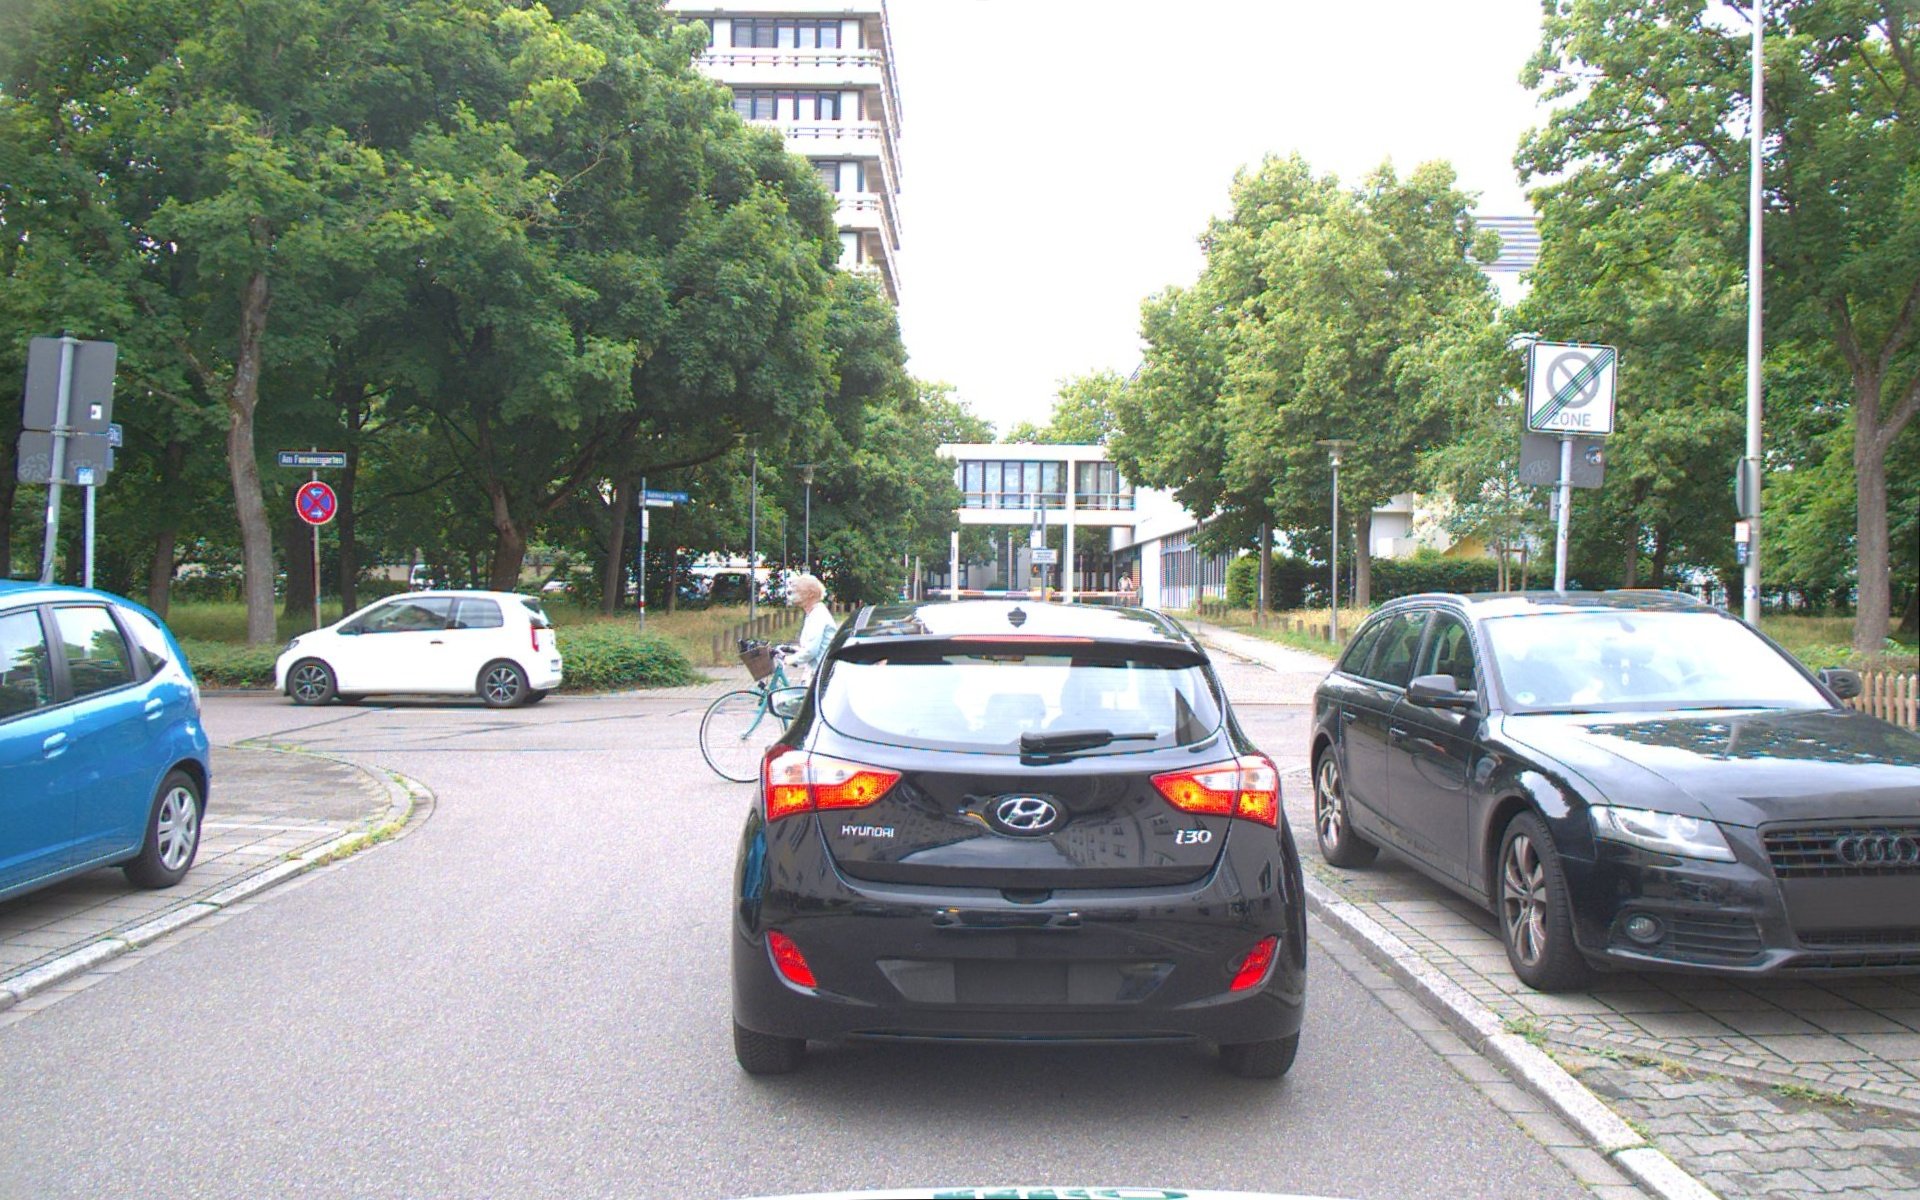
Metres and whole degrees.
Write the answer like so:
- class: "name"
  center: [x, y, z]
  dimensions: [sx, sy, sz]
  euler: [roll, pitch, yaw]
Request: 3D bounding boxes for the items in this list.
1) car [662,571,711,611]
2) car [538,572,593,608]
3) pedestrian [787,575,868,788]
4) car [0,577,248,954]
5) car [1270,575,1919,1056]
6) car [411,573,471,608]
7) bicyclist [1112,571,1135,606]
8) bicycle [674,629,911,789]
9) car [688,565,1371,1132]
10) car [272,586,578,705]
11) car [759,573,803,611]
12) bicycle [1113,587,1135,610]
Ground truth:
- class: "car"
  center: [-13.042, -0.408, 79.097]
  dimensions: [1.954, 1.825, 3.996]
  euler: [0, -1, -5]
- class: "car"
  center: [-18.748, -0.478, 78.755]
  dimensions: [1.954, 1.646, 3.996]
  euler: [0, 0, -5]
- class: "pedestrian"
  center: [-1.015, 0.607, 12.639]
  dimensions: [0.555, 1.576, 0.447]
  euler: [-2, 1, -8]
- class: "car"
  center: [-4.751, 0.660, 7.092]
  dimensions: [1.695, 1.488, 3.956]
  euler: [3, 0, -1]
- class: "car"
  center: [2.873, 0.646, 7.567]
  dimensions: [1.823, 1.488, 4.723]
  euler: [-1, 1, -3]
- class: "car"
  center: [-24.833, -0.454, 79.194]
  dimensions: [1.880, 1.646, 3.996]
  euler: [0, 0, -5]
- class: "bicyclist"
  center: [7.811, -0.568, 79.060]
  dimensions: [0.996, 1.673, 0.923]
  euler: [0, 1, 0]
- class: "bicycle"
  center: [-1.314, 0.836, 12.965]
  dimensions: [1.779, 1.139, 0.537]
  euler: [-2, 1, -9]
- class: "car"
  center: [0.101, 0.661, 6.309]
  dimensions: [1.809, 1.488, 3.825]
  euler: [1, 0, -3]
- class: "car"
  center: [-6.840, 0.565, 21.405]
  dimensions: [3.461, 1.462, 1.566]
  euler: [0, 1, -3]
- class: "car"
  center: [-8.532, -0.351, 79.108]
  dimensions: [1.954, 1.792, 3.996]
  euler: [0, 0, -5]
- class: "bicycle"
  center: [7.824, -0.076, 79.038]
  dimensions: [0.849, 1.093, 2.142]
  euler: [0, 1, 0]
